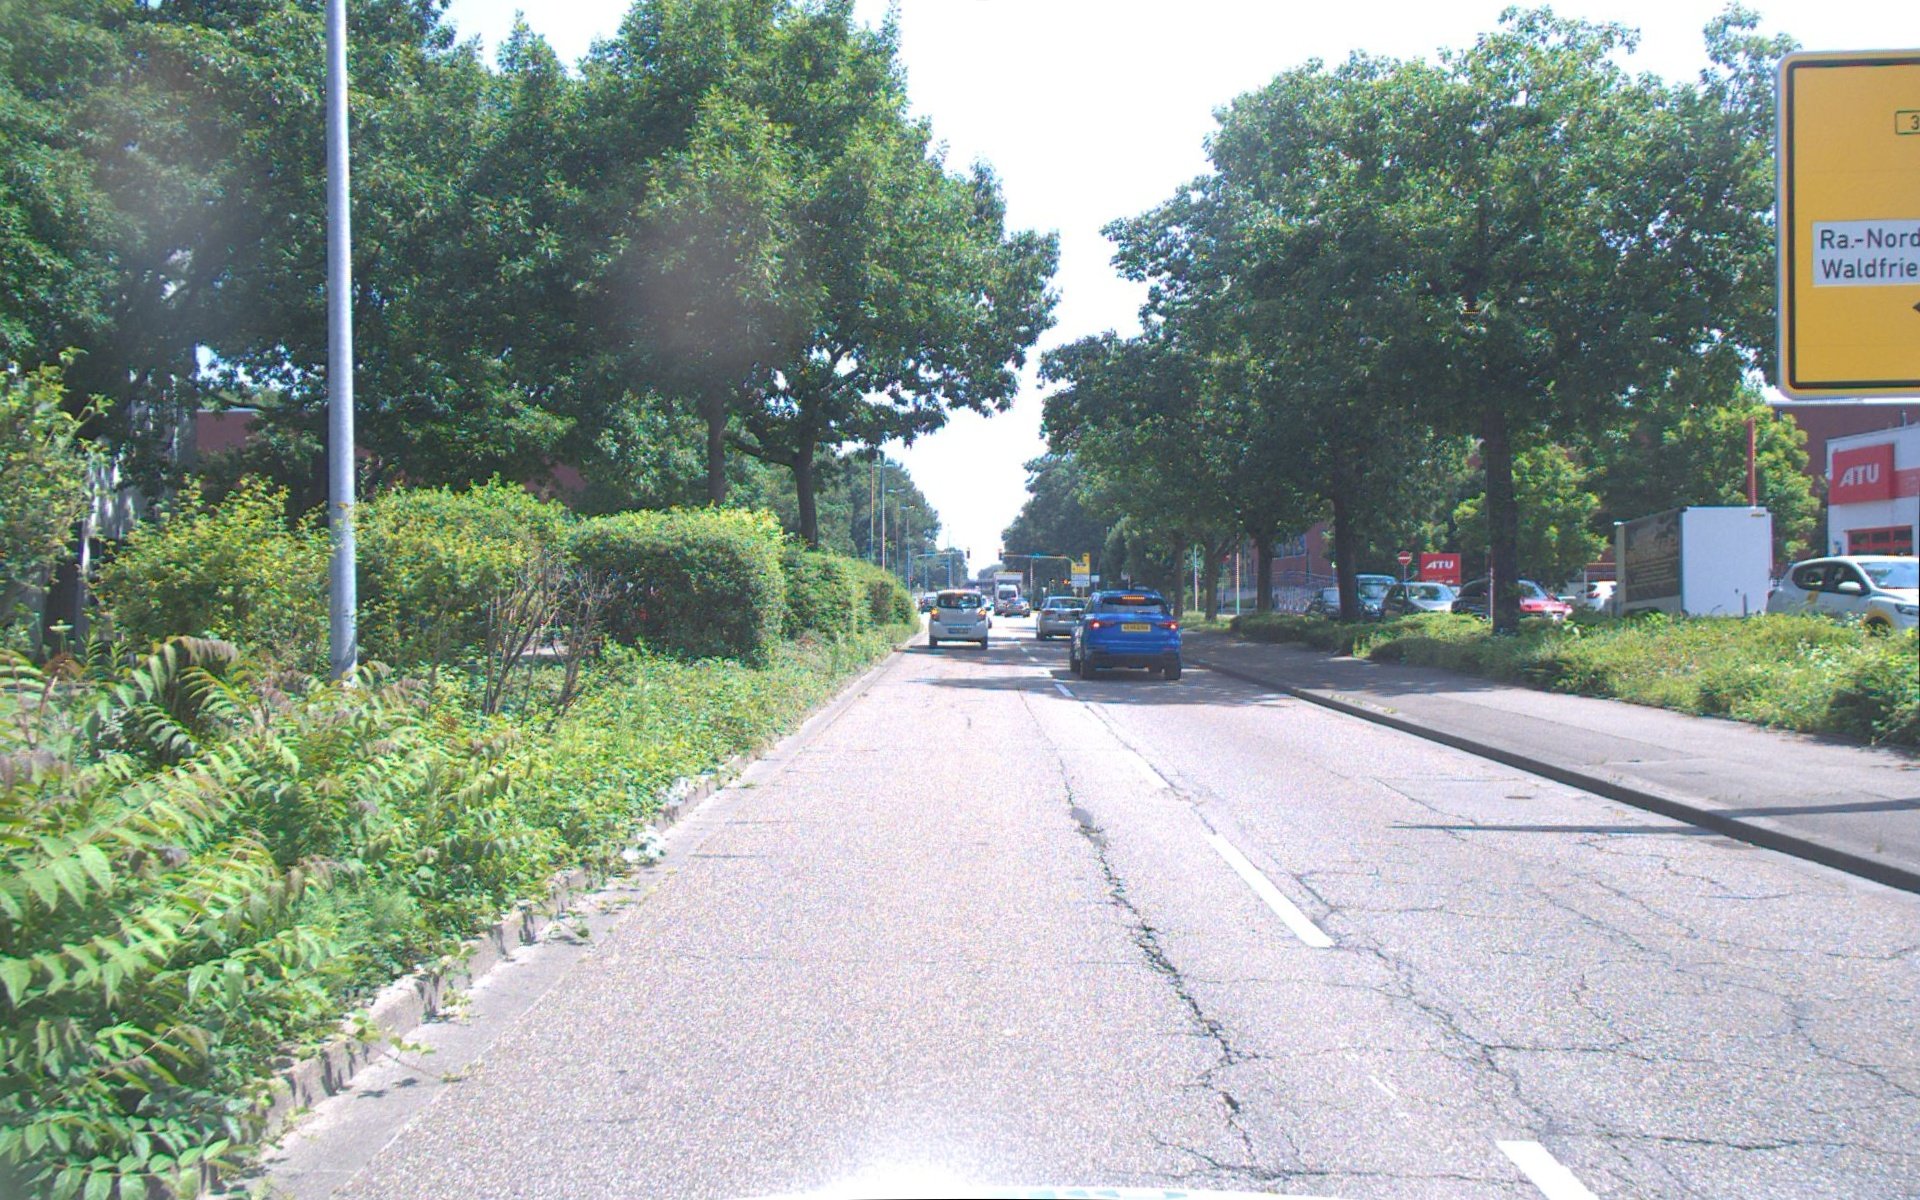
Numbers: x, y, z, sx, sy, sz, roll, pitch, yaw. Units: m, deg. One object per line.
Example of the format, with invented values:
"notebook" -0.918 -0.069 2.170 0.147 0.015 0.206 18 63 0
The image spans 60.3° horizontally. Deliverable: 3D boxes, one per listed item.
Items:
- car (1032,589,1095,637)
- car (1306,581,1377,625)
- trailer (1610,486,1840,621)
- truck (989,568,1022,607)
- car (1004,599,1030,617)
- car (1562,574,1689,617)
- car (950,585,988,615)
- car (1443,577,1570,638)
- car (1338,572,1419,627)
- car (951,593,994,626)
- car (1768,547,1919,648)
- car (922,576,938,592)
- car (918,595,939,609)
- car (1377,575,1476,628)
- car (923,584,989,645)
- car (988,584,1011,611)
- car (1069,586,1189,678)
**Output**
"car" 3.397 0.433 54.722 1.827 1.499 4.000 0 -1 0
"car" 13.250 0.124 57.642 1.665 1.449 4.656 0 -1 4
"trailer" 13.021 -0.744 28.573 1.665 2.091 5.485 0 0 3
"truck" 4.285 -1.188 156.083 2.872 3.564 9.158 -1 0 0
"car" 4.464 0.584 130.126 1.827 1.333 4.000 -1 0 0
"car" 24.470 -0.162 60.900 3.906 1.467 1.942 -1 0 -1
"car" 0.452 0.023 86.660 1.759 1.550 3.997 0 -1 -4
"car" 13.261 0.157 40.374 1.666 1.404 4.324 0 0 0
"car" 13.085 0.000 51.902 1.665 1.666 3.906 0 -1 2
"car" 0.541 0.420 72.665 1.846 1.378 4.000 0 -1 1
"car" 12.798 -0.014 22.711 1.586 1.275 3.629 0 -1 -1
"car" -3.907 -2.085 215.709 1.954 2.049 3.998 -1 0 -3
"car" -3.070 0.213 160.797 1.952 1.310 4.000 -1 0 0
"car" 13.019 0.028 46.382 1.666 1.404 3.905 0 0 0
"car" -0.132 0.393 44.940 1.606 1.579 3.322 0 -1 -4
"car" 3.456 -0.217 144.888 1.952 2.295 4.000 -1 0 0
"car" 3.123 0.586 31.335 1.772 1.621 4.348 0 -1 -1
